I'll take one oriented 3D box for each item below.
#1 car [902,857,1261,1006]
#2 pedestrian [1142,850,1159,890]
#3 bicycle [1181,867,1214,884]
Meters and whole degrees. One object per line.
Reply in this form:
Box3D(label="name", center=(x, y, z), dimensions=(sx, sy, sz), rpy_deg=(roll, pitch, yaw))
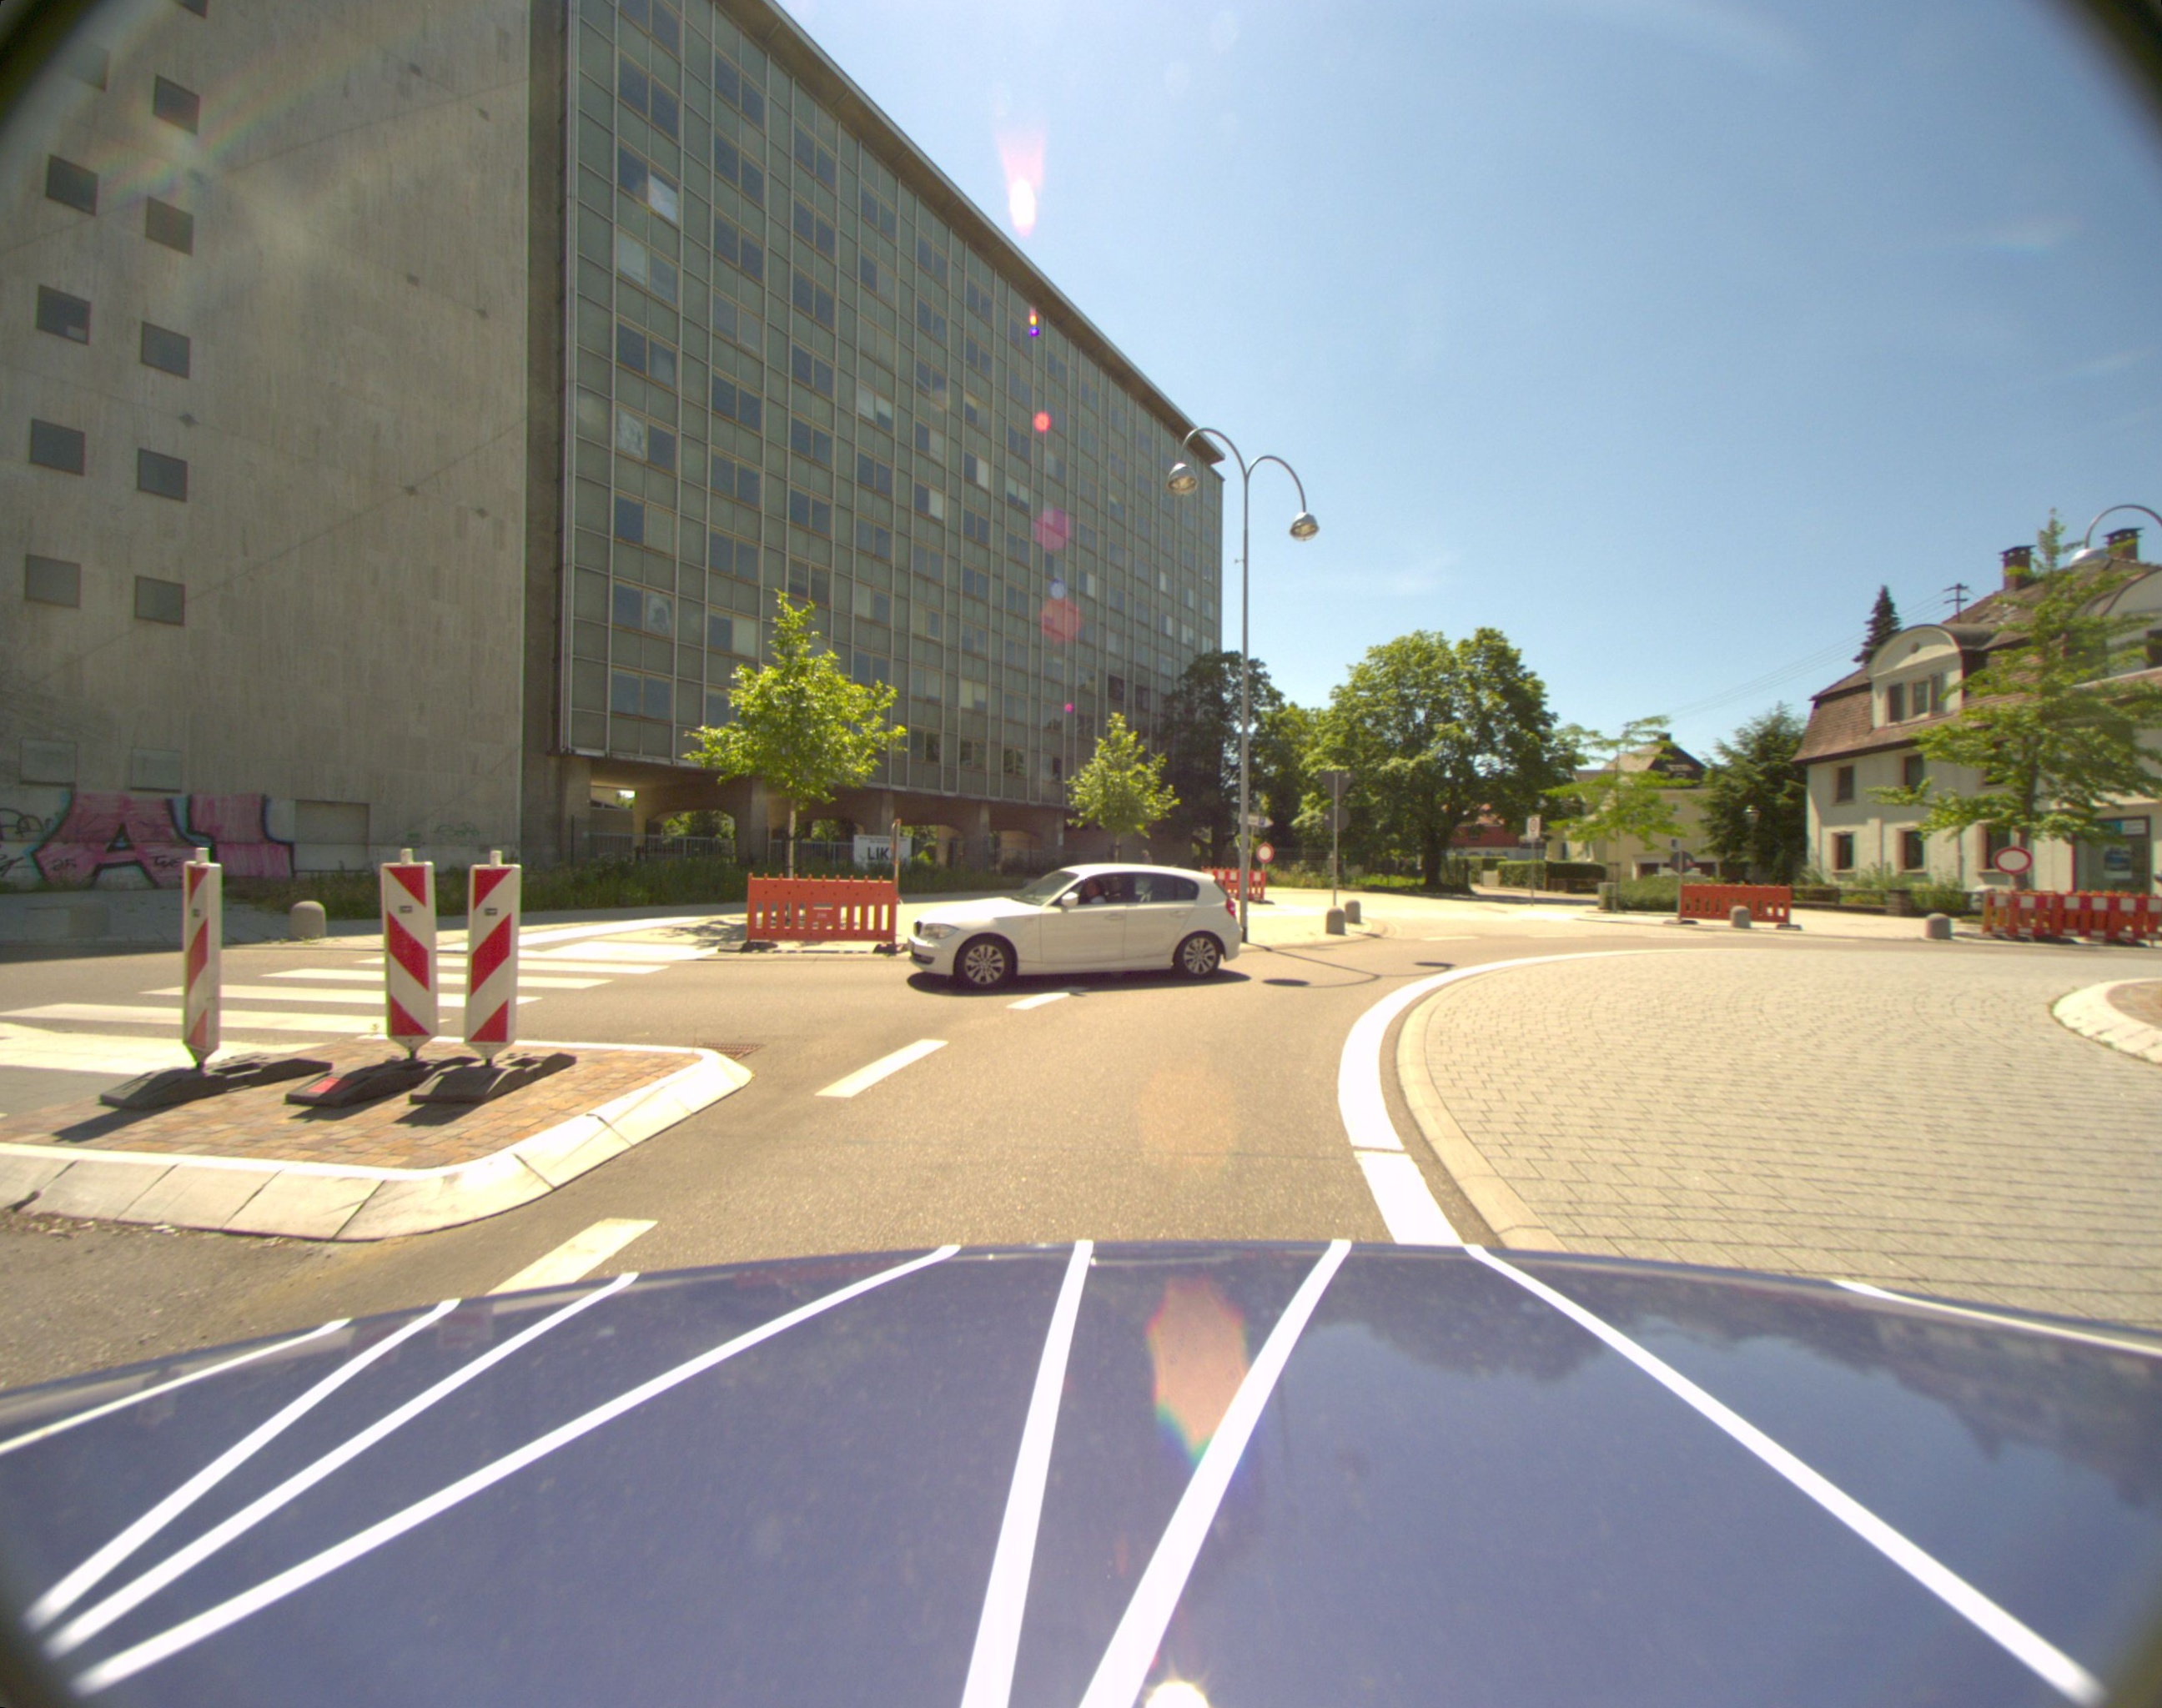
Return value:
Box3D(label="car", center=(-0.034, 0.870, 9.581), dimensions=(4.133, 1.542, 1.784), rpy_deg=(1, 1, -20))
Box3D(label="pedestrian", center=(3.010, 0.684, 32.855), dimensions=(0.565, 1.698, 0.487), rpy_deg=(3, 2, 13))
Box3D(label="bicycle", center=(6.402, 1.161, 41.690), dimensions=(1.750, 0.902, 0.449), rpy_deg=(1, 0, 17))
